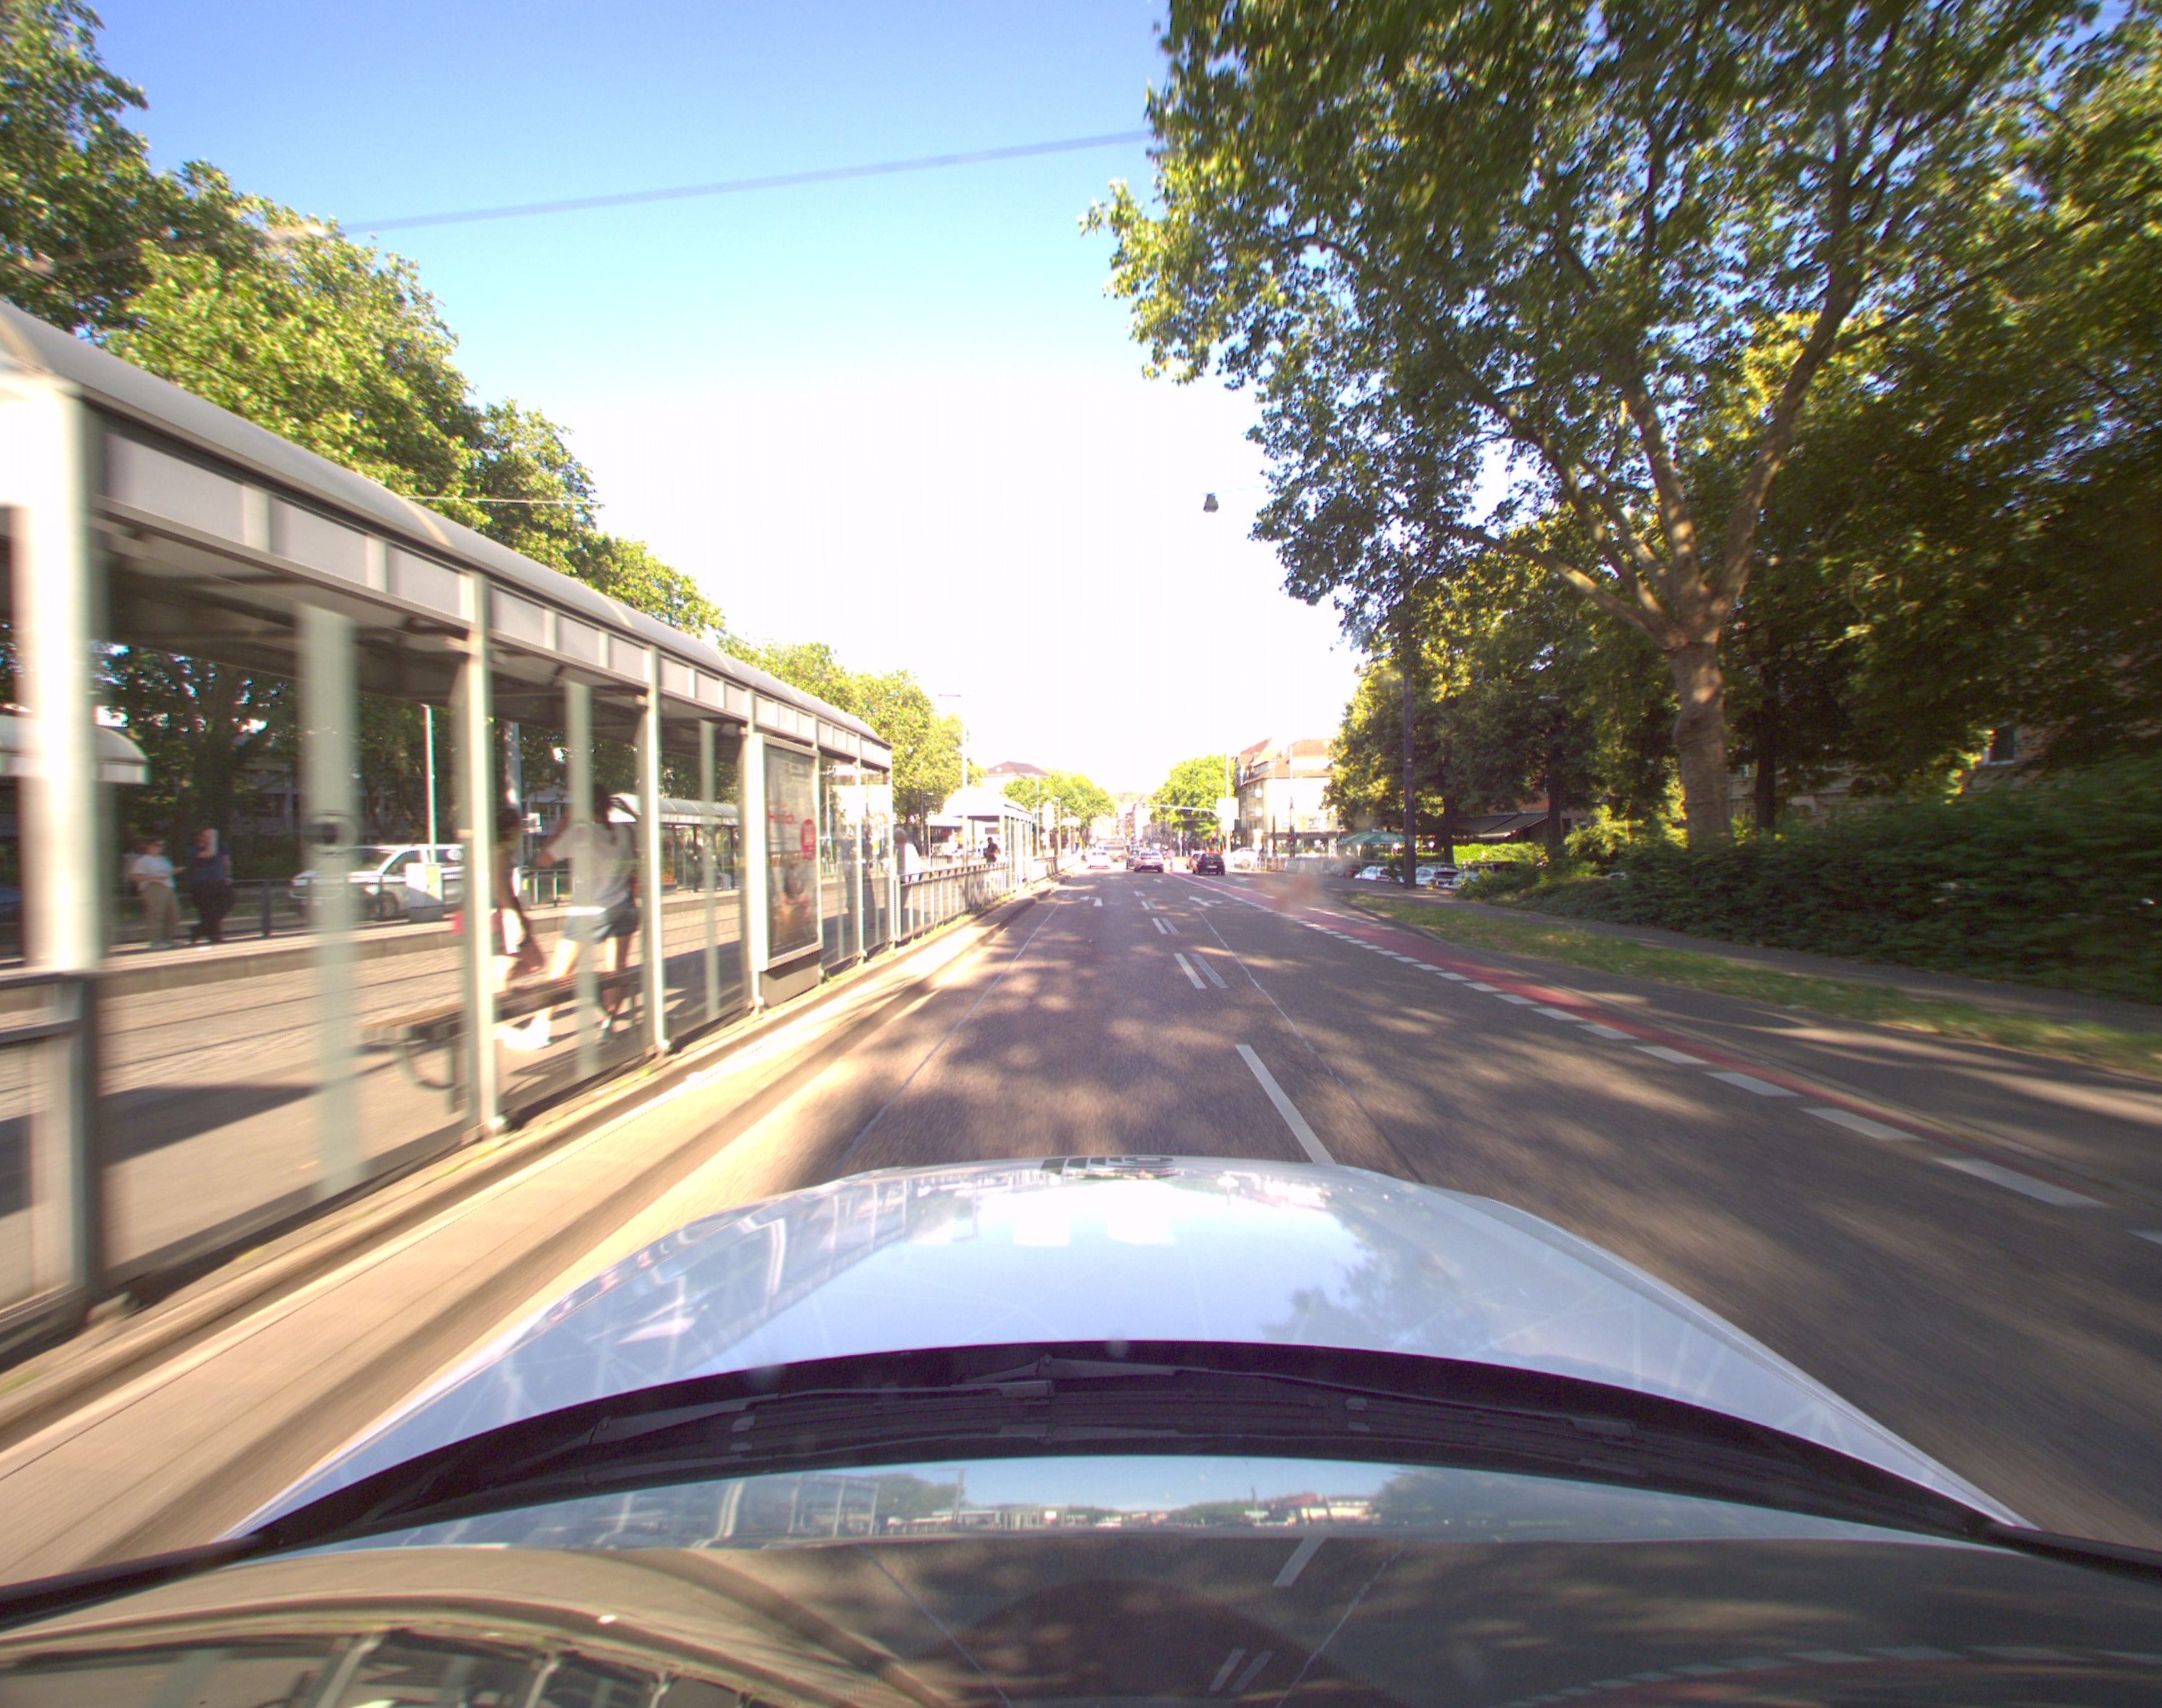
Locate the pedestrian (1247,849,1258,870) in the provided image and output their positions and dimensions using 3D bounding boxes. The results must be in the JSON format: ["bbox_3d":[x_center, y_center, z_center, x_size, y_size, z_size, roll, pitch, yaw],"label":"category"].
[{"bbox_3d":[12.818,0.413,60.963,0.642,1.563,0.635,2,0,20],"label":"pedestrian"}]

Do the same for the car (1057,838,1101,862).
[{"bbox_3d":[-0.235,-0.452,95.514,5.007,2.743,2.070,0,-1,-5],"label":"car"}]

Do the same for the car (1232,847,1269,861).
[{"bbox_3d":[20.142,-0.032,96.893,4.115,1.692,1.829,0,0,17],"label":"car"}]

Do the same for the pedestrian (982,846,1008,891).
[{"bbox_3d":[-2.517,0.422,23.831,0.676,1.309,0.593,0,0,2],"label":"pedestrian"}]

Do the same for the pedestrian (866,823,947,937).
[{"bbox_3d":[-2.638,0.367,12.329,0.792,1.634,0.872,1,0,39],"label":"pedestrian"}]

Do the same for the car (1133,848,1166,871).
[{"bbox_3d":[4.661,0.362,55.973,1.922,1.472,4.856,0,0,1],"label":"car"}]

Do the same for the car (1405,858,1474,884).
[{"bbox_3d":[22.451,1.036,50.946,4.266,1.406,1.944,-3,1,-34],"label":"car"}]

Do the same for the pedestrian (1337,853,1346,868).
[{"bbox_3d":[23.453,0.573,73.337,0.645,1.337,0.632,2,0,1],"label":"pedestrian"}]

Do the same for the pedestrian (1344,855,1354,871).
[{"bbox_3d":[22.580,0.750,68.628,0.645,1.337,0.632,2,0,1],"label":"pedestrian"}]

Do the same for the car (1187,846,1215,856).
[{"bbox_3d":[18.678,-0.509,126.878,3.983,1.510,1.796,-1,0,-7],"label":"car"}]

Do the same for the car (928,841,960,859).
[{"bbox_3d":[-24.871,-0.689,148.154,2.473,3.165,6.572,-1,0,24],"label":"car"}]

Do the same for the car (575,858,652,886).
[{"bbox_3d":[-41.799,1.541,72.957,2.131,2.335,5.756,-1,0,25],"label":"car"}]

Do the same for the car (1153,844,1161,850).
[{"bbox_3d":[20.674,-1.931,222.059,1.788,1.510,4.001,-1,0,1],"label":"car"}]

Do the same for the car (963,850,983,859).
[{"bbox_3d":[-19.397,0.075,146.196,1.779,1.510,4.030,-1,0,20],"label":"car"}]

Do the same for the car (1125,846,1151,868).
[{"bbox_3d":[4.423,0.239,63.276,1.794,1.638,4.046,0,0,1],"label":"car"}]

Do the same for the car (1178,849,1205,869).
[{"bbox_3d":[8.988,0.380,66.366,1.788,1.510,4.002,0,1,1],"label":"car"}]

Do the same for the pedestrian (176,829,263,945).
[{"bbox_3d":[-13.525,0.506,12.799,0.645,1.772,0.651,0,-1,4],"label":"pedestrian"}]

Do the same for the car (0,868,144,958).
[{"bbox_3d":[-19.306,1.058,13.800,1.788,1.510,4.341,-3,0,0],"label":"car"}]

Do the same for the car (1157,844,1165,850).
[{"bbox_3d":[21.182,-1.884,215.886,1.788,1.510,4.001,-1,0,1],"label":"car"}]

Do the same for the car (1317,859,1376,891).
[{"bbox_3d":[15.535,1.204,47.846,1.791,1.803,4.203,0,-1,-5],"label":"car"}]

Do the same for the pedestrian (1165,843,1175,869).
[{"bbox_3d":[6.499,0.160,59.718,0.654,1.871,0.678,-1,0,1],"label":"pedestrian"}]

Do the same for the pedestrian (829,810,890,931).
[{"bbox_3d":[-3.454,0.247,12.755,0.647,1.841,0.712,1,0,11],"label":"pedestrian"}]

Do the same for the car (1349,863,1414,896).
[{"bbox_3d":[15.252,1.269,41.599,1.788,1.579,4.444,0,0,1],"label":"car"}]

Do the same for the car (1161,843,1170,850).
[{"bbox_3d":[21.701,-1.985,209.345,2.097,1.776,4.342,-1,0,1],"label":"car"}]

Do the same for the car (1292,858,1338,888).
[{"bbox_3d":[15.376,1.198,53.706,1.789,1.898,4.358,0,-1,-1],"label":"car"}]

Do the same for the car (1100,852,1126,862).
[{"bbox_3d":[3.724,0.330,95.904,2.898,1.162,2.070,0,-1,-5],"label":"car"}]

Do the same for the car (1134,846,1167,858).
[{"bbox_3d":[9.068,-0.267,106.424,3.948,1.510,1.811,0,0,39],"label":"car"}]

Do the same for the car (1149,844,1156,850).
[{"bbox_3d":[21.125,-2.065,241.299,1.788,1.522,4.001,-1,0,1],"label":"car"}]

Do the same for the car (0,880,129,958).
[{"bbox_3d":[-19.311,1.166,13.571,1.764,1.292,4.314,-3,0,0],"label":"car"}]

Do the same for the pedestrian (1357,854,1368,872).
[{"bbox_3d":[21.959,0.707,63.541,0.645,1.337,0.632,2,0,1],"label":"pedestrian"}]

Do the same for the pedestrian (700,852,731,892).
[{"bbox_3d":[-12.663,0.618,28.214,0.667,1.324,0.757,-3,0,0],"label":"pedestrian"}]

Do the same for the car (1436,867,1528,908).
[{"bbox_3d":[15.215,1.227,31.130,1.788,1.441,3.576,0,-1,0],"label":"car"}]

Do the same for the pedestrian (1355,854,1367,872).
[{"bbox_3d":[22.126,0.715,64.370,0.645,1.337,0.632,2,0,1],"label":"pedestrian"}]

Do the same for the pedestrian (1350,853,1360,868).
[{"bbox_3d":[24.347,0.570,72.353,0.645,1.337,0.632,2,0,1],"label":"pedestrian"}]

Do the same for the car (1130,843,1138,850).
[{"bbox_3d":[12.216,-1.666,187.870,1.788,1.510,4.000,-1,0,0],"label":"car"}]

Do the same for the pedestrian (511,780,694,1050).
[{"bbox_3d":[-3.215,0.383,5.546,0.739,1.694,0.791,1,0,2],"label":"pedestrian"}]

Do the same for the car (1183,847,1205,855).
[{"bbox_3d":[21.016,-0.578,151.526,4.021,1.510,1.779,-1,0,-41],"label":"car"}]

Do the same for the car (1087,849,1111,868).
[{"bbox_3d":[1.429,0.339,64.960,1.802,1.452,4.001,0,0,1],"label":"car"}]

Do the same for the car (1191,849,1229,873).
[{"bbox_3d":[7.956,0.399,50.607,1.793,1.439,4.046,1,0,1],"label":"car"}]

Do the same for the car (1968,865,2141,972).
[{"bbox_3d":[22.461,1.358,18.750,4.698,1.966,1.854,-2,1,-31],"label":"car"}]

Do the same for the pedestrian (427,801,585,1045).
[{"bbox_3d":[-3.917,0.444,5.593,0.585,1.567,0.650,1,0,2],"label":"pedestrian"}]

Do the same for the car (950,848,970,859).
[{"bbox_3d":[-21.866,-0.134,147.142,1.779,1.955,4.020,-1,0,20],"label":"car"}]

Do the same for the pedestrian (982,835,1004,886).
[{"bbox_3d":[-2.927,0.226,27.076,0.592,1.678,0.590,0,0,6],"label":"pedestrian"}]

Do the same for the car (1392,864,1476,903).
[{"bbox_3d":[15.313,1.221,35.587,1.788,1.579,4.554,0,0,1],"label":"car"}]

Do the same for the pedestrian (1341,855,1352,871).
[{"bbox_3d":[22.044,0.740,67.691,0.645,1.337,0.632,2,0,1],"label":"pedestrian"}]

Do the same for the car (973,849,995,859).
[{"bbox_3d":[-17.098,-0.021,144.136,1.777,1.649,4.035,-1,0,30],"label":"car"}]

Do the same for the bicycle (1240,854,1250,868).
[{"bbox_3d":[13.286,0.570,66.143,0.497,1.075,1.800,0,-1,1],"label":"bicycle"}]

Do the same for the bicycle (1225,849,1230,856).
[{"bbox_3d":[21.796,-0.244,120.844,0.606,1.107,1.803,-1,0,6],"label":"bicycle"}]

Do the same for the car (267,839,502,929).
[{"bbox_3d":[-18.991,0.762,22.642,2.060,2.124,5.089,-3,0,0],"label":"car"}]

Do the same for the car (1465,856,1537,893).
[{"bbox_3d":[22.315,1.050,43.207,4.018,1.734,1.780,-3,1,-36],"label":"car"}]

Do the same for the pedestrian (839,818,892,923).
[{"bbox_3d":[-3.671,0.269,13.866,0.656,1.722,0.703,1,0,-34],"label":"pedestrian"}]

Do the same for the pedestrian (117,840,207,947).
[{"bbox_3d":[-13.595,0.573,12.061,0.590,1.544,0.627,0,-1,2],"label":"pedestrian"}]

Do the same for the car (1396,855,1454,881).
[{"bbox_3d":[23.031,0.916,54.462,4.019,1.480,1.780,-3,1,-38],"label":"car"}]
